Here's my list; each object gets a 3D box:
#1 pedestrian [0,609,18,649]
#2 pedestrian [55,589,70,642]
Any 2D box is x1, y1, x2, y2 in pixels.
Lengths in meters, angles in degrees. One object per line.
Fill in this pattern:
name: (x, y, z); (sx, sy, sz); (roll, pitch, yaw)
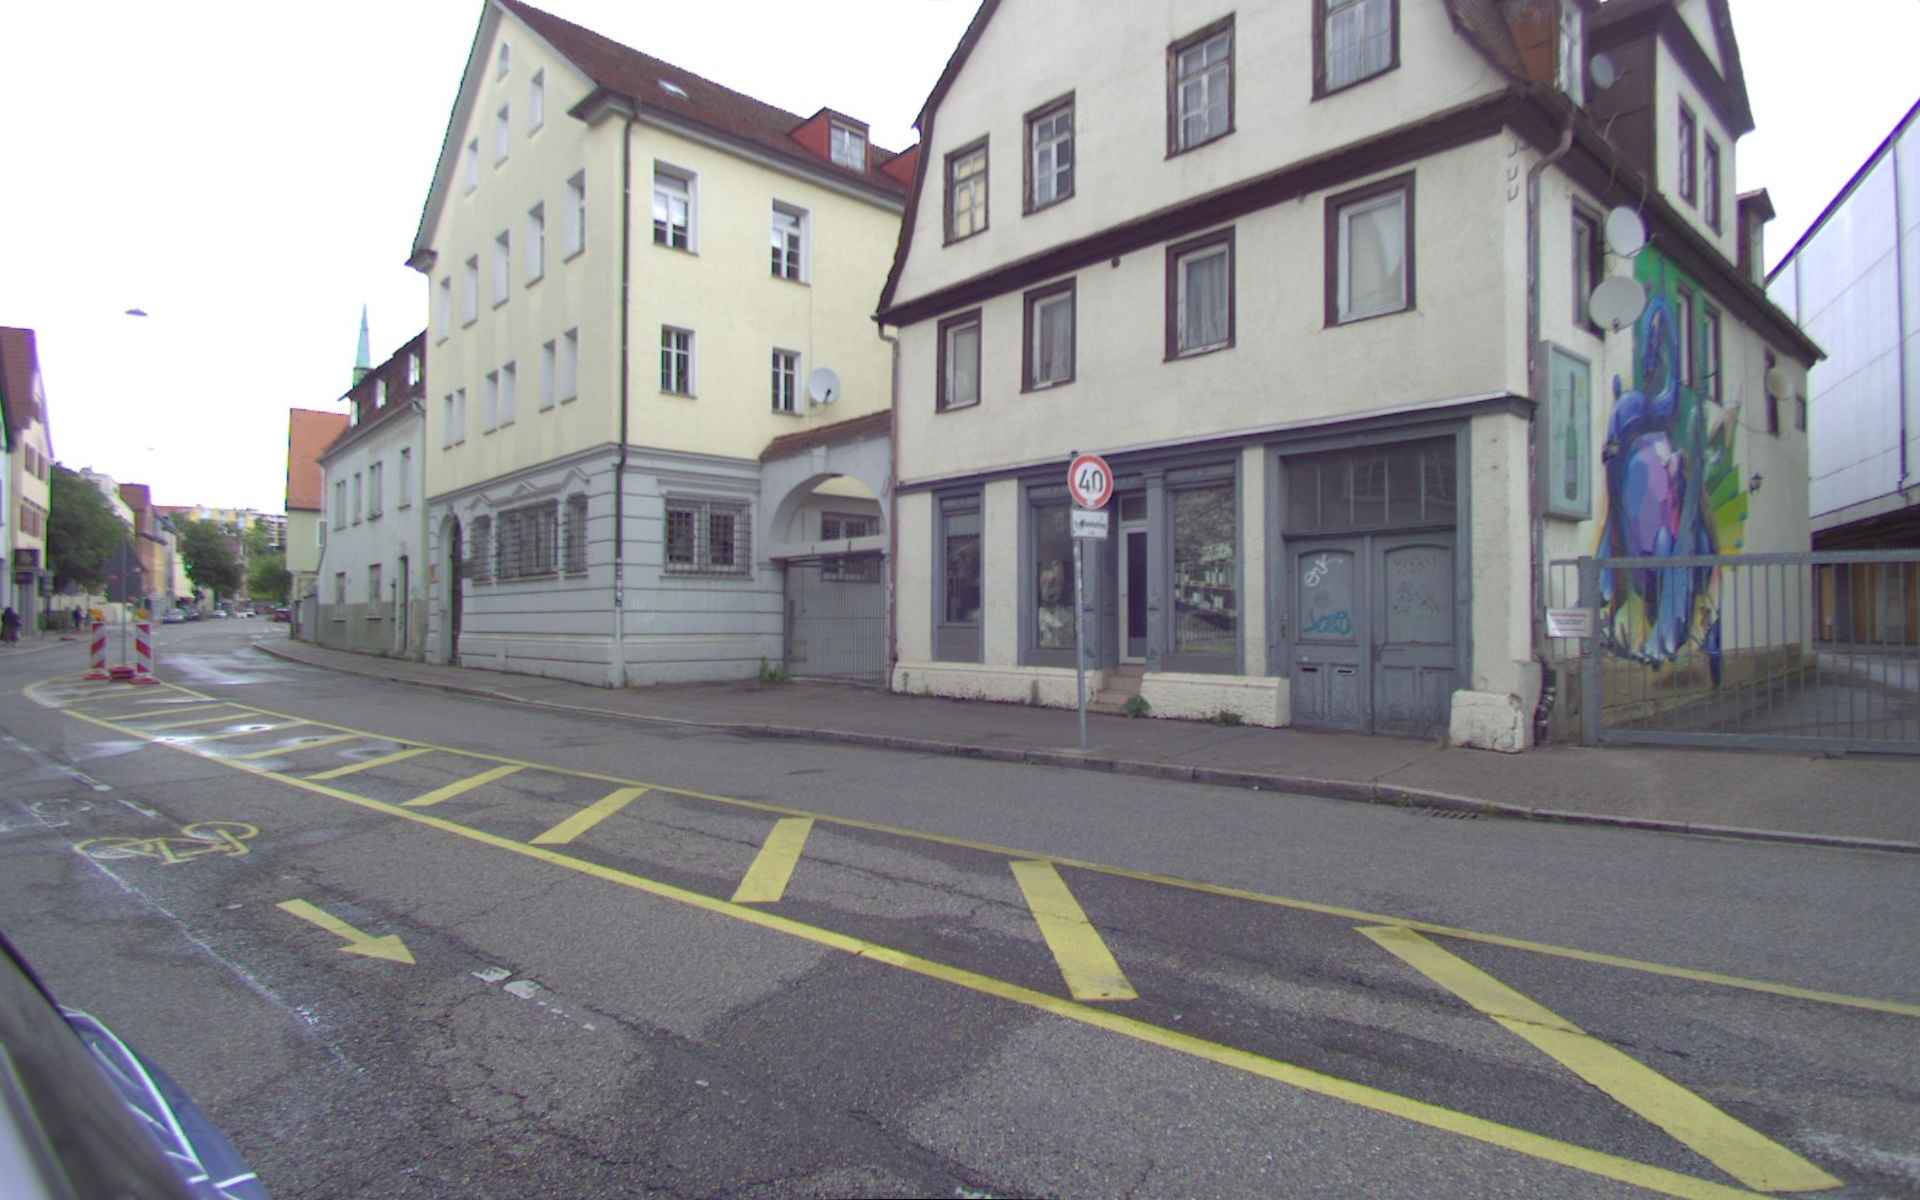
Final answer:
pedestrian: (-38.618, 1.176, 40.888); (0.714, 1.626, 0.650); (1, -3, -37)
pedestrian: (-43.768, 0.747, 49.362); (0.487, 2.547, 0.747); (1, -2, -38)
